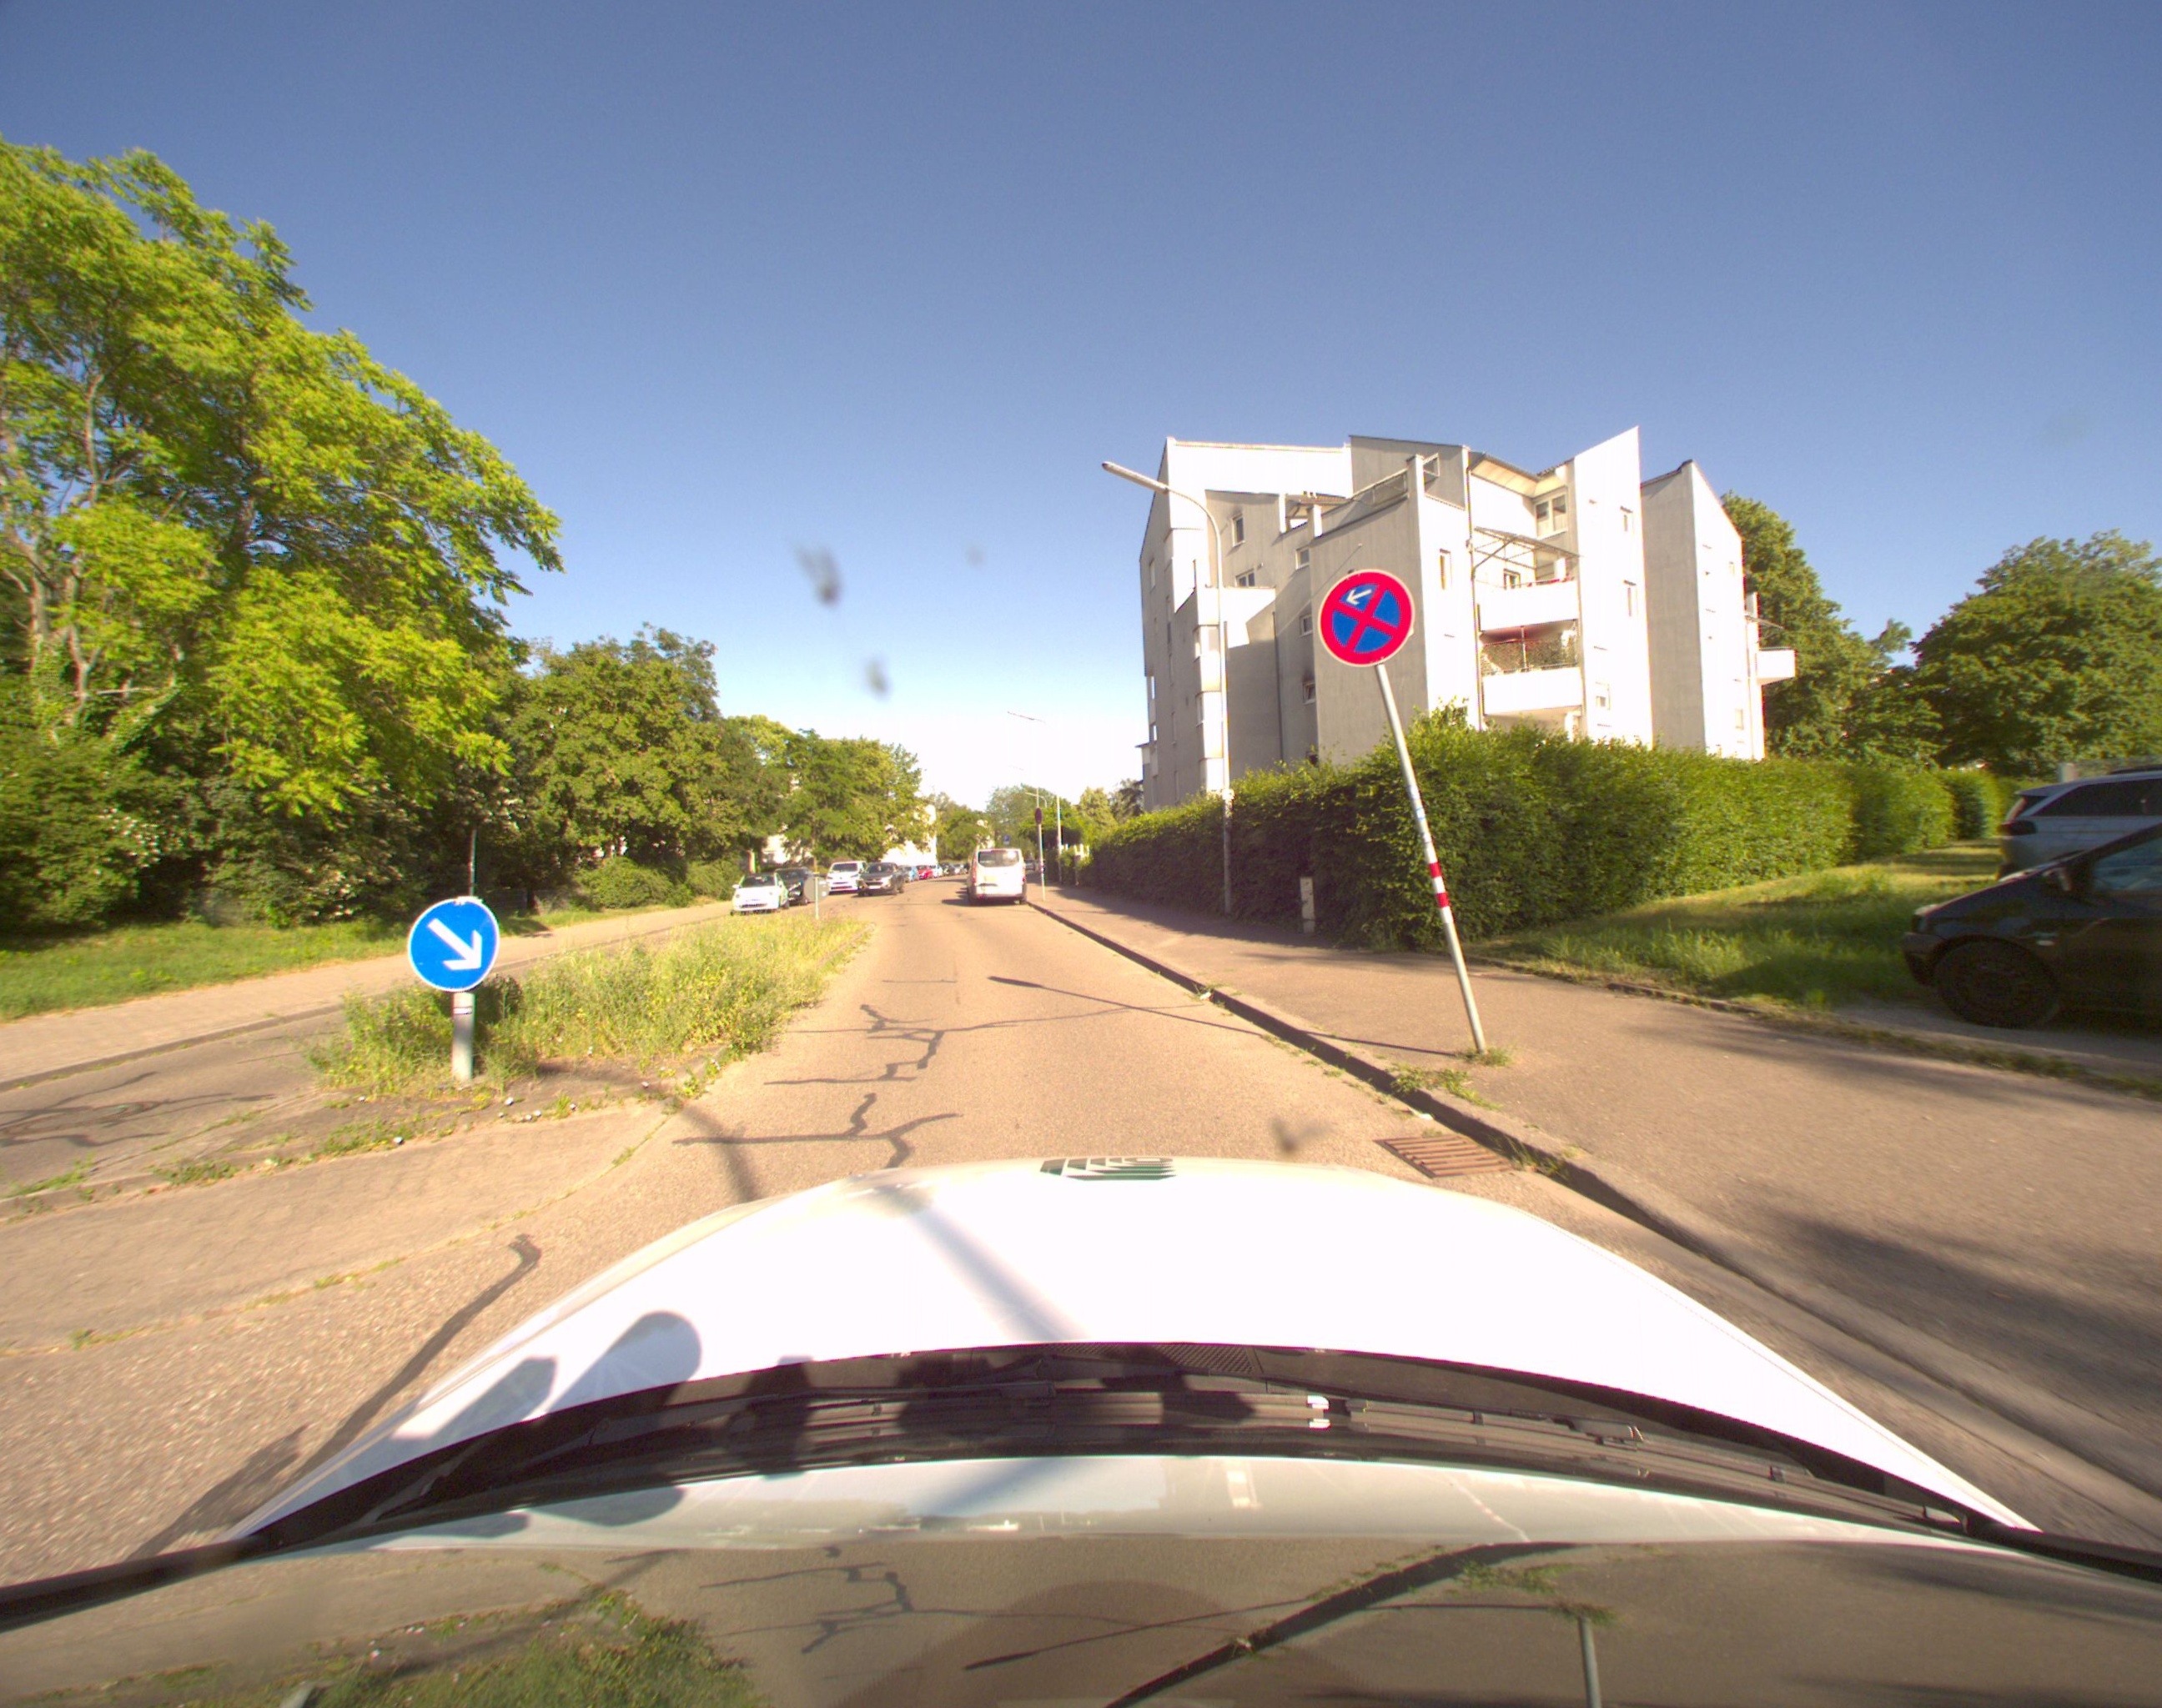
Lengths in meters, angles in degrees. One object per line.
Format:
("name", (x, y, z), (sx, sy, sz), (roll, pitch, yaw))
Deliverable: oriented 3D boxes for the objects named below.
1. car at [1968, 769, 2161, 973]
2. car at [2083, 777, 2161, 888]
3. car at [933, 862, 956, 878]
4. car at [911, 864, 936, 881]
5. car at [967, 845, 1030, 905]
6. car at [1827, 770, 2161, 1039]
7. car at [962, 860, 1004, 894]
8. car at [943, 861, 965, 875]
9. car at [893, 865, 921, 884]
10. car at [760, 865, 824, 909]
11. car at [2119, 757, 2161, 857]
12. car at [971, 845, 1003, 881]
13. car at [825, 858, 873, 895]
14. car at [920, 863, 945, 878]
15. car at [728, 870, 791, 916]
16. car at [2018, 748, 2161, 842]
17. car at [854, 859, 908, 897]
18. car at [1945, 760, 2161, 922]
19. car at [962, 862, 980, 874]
("car", (8.993, 0.054, 5.497), (1.651, 1.496, 3.667), (-4, -1, -20))
("car", (15.661, -0.391, 9.966), (1.626, 1.455, 4.112), (-3, -1, -35))
("car", (-15.289, 1.756, 91.521), (1.664, 1.666, 4.407), (-4, 0, 1))
("car", (-15.245, 1.743, 79.039), (1.665, 1.474, 3.676), (-4, 0, -1))
("car", (-3.119, 0.740, 29.847), (1.993, 1.912, 4.938), (-3, 0, -9))
("car", (6.734, 0.226, 4.454), (1.702, 1.466, 3.515), (-4, 1, -16))
("car", (-4.857, 1.091, 40.308), (1.908, 1.488, 4.364), (-3, 0, -7))
("car", (-15.190, 1.659, 97.712), (1.653, 1.486, 4.056), (-4, 0, 3))
("car", (-15.365, 1.797, 72.053), (1.665, 1.474, 3.676), (-4, 0, -1))
("car", (-12.505, 1.367, 35.476), (1.673, 1.638, 4.239), (-4, 0, -8))
("car", (20.855, -0.924, 13.309), (1.851, 1.771, 4.496), (-3, 0, -27))
("car", (-6.892, 0.680, 60.400), (2.101, 2.486, 5.846), (-1, -1, -4))
("car", (-13.658, 1.279, 48.187), (1.861, 1.961, 4.660), (-3, 0, -6))
("car", (-15.408, 1.669, 84.463), (1.664, 1.421, 3.902), (-4, 0, 1))
("car", (-11.899, 1.402, 30.354), (1.628, 1.527, 3.403), (-3, 0, -13))
("car", (27.263, -1.537, 19.379), (2.421, 2.147, 6.209), (-3, 0, -34))
("car", (-9.944, 1.149, 40.787), (1.910, 1.705, 4.177), (-4, 0, -6))
("car", (12.289, -0.213, 7.926), (1.788, 1.654, 4.964), (-3, -1, -27))
("car", (-13.878, 1.761, 103.078), (1.655, 1.426, 4.047), (-4, 0, -1))
